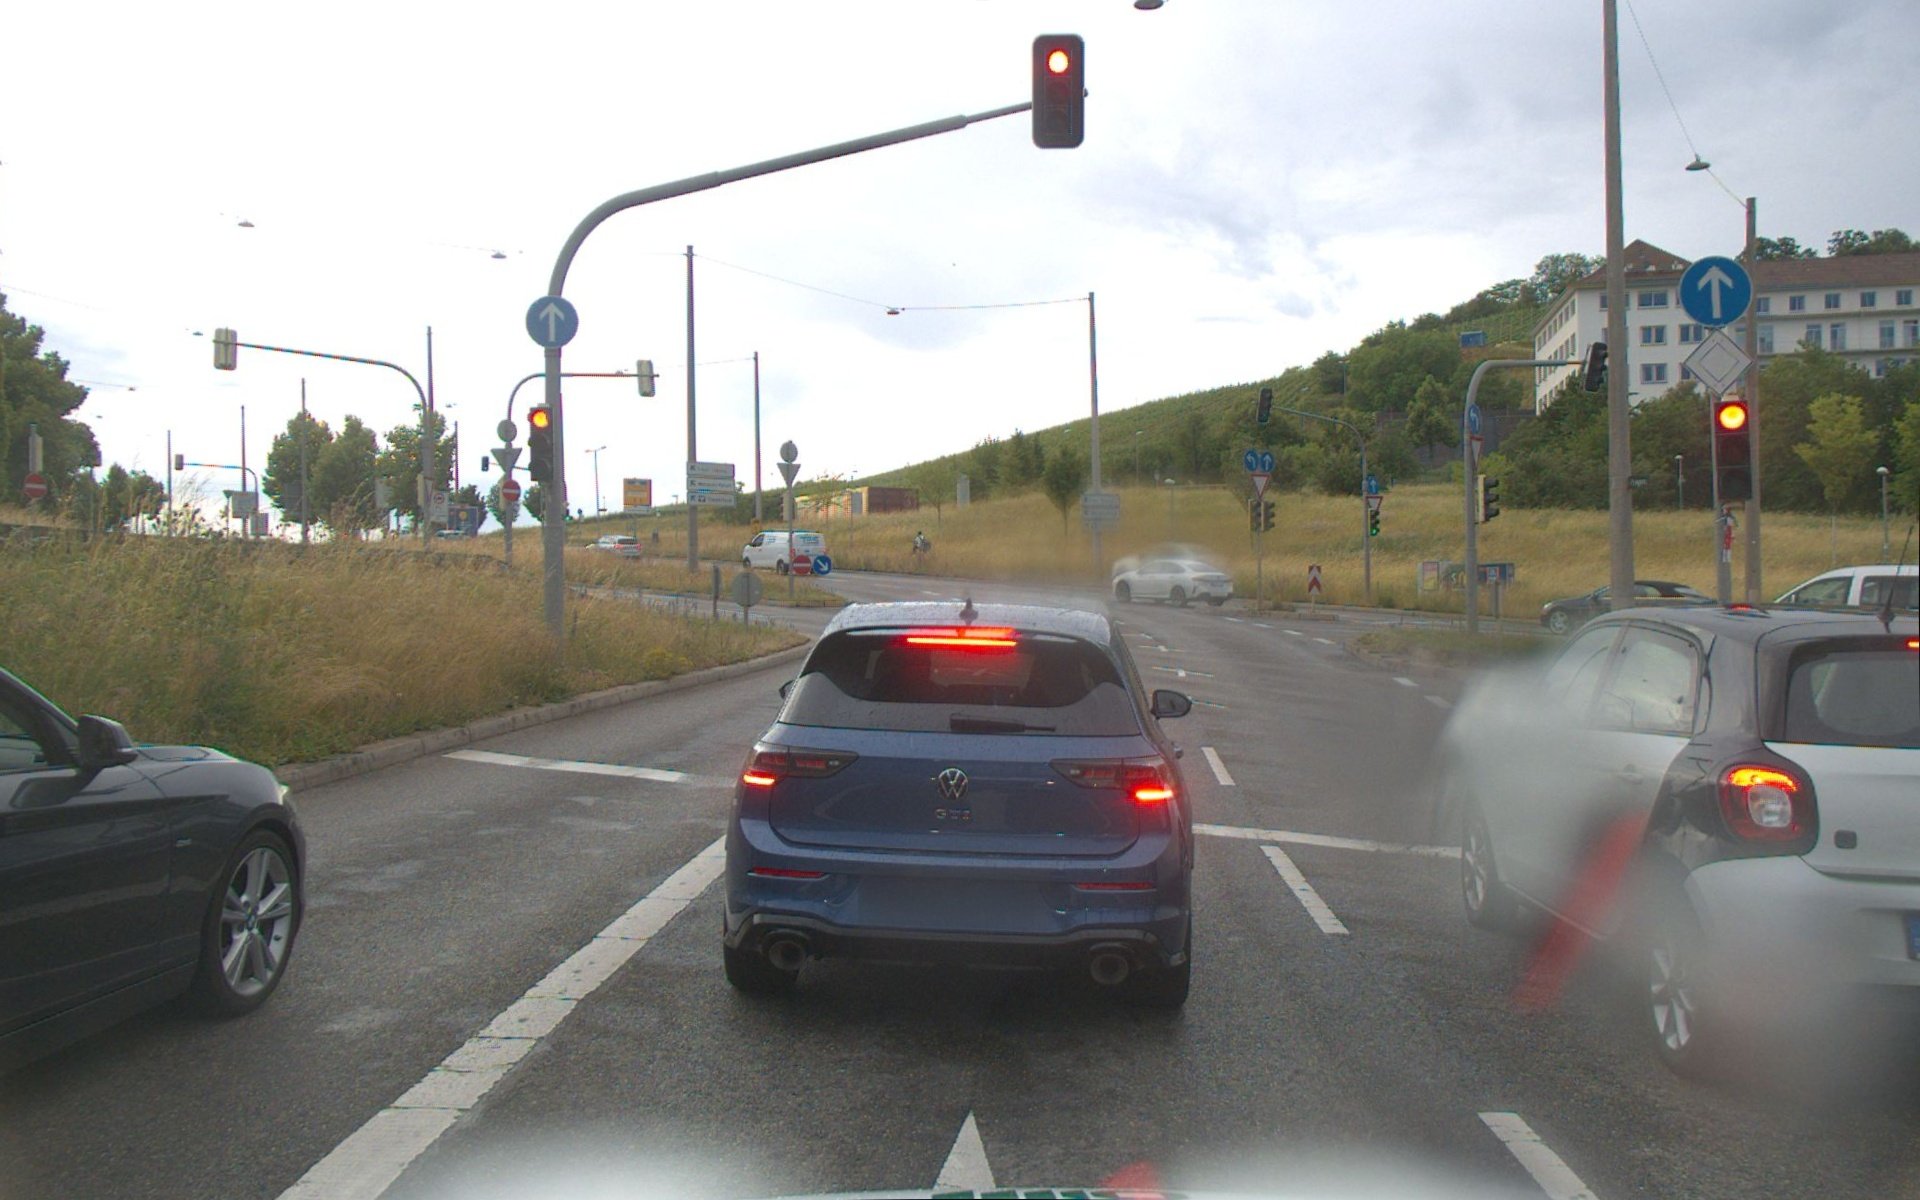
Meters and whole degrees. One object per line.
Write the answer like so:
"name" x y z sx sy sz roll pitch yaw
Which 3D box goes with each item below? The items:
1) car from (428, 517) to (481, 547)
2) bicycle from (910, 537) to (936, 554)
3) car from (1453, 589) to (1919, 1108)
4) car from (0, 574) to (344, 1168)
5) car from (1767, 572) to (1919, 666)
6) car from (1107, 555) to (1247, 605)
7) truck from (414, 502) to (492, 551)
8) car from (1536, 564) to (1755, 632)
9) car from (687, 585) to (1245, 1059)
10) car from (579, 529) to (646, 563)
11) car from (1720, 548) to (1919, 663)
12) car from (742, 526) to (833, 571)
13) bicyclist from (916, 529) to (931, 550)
"car" -32.017 -4.300 104.760 1.977 1.688 4.299 1 -1 -35
"bicycle" -1.972 -2.874 87.184 0.514 0.788 1.600 3 1 -37
"car" 3.214 0.760 6.618 1.623 1.529 3.452 1 -1 3
"car" -3.232 0.672 4.153 1.667 1.485 4.115 0 -1 2
"car" 17.460 0.351 30.281 1.982 1.649 4.456 1 -1 -41
"car" 6.878 -0.620 52.885 1.978 1.503 4.363 1 -1 -37
"truck" -35.455 -5.137 115.441 3.233 3.128 6.097 3 0 -37
"car" 16.158 -0.030 39.174 1.977 1.503 4.446 1 -1 -35
"car" 0.120 0.696 7.250 1.787 1.486 3.810 1 1 3
"car" -19.208 -2.970 91.325 1.977 1.688 4.488 1 -1 -35
"car" 15.720 0.098 28.296 1.806 1.882 4.628 1 -1 -41
"car" -7.755 -2.274 73.960 2.110 1.826 4.684 1 -1 -34
"bicyclist" -1.916 -3.165 87.143 0.519 1.065 0.573 3 0 -36
